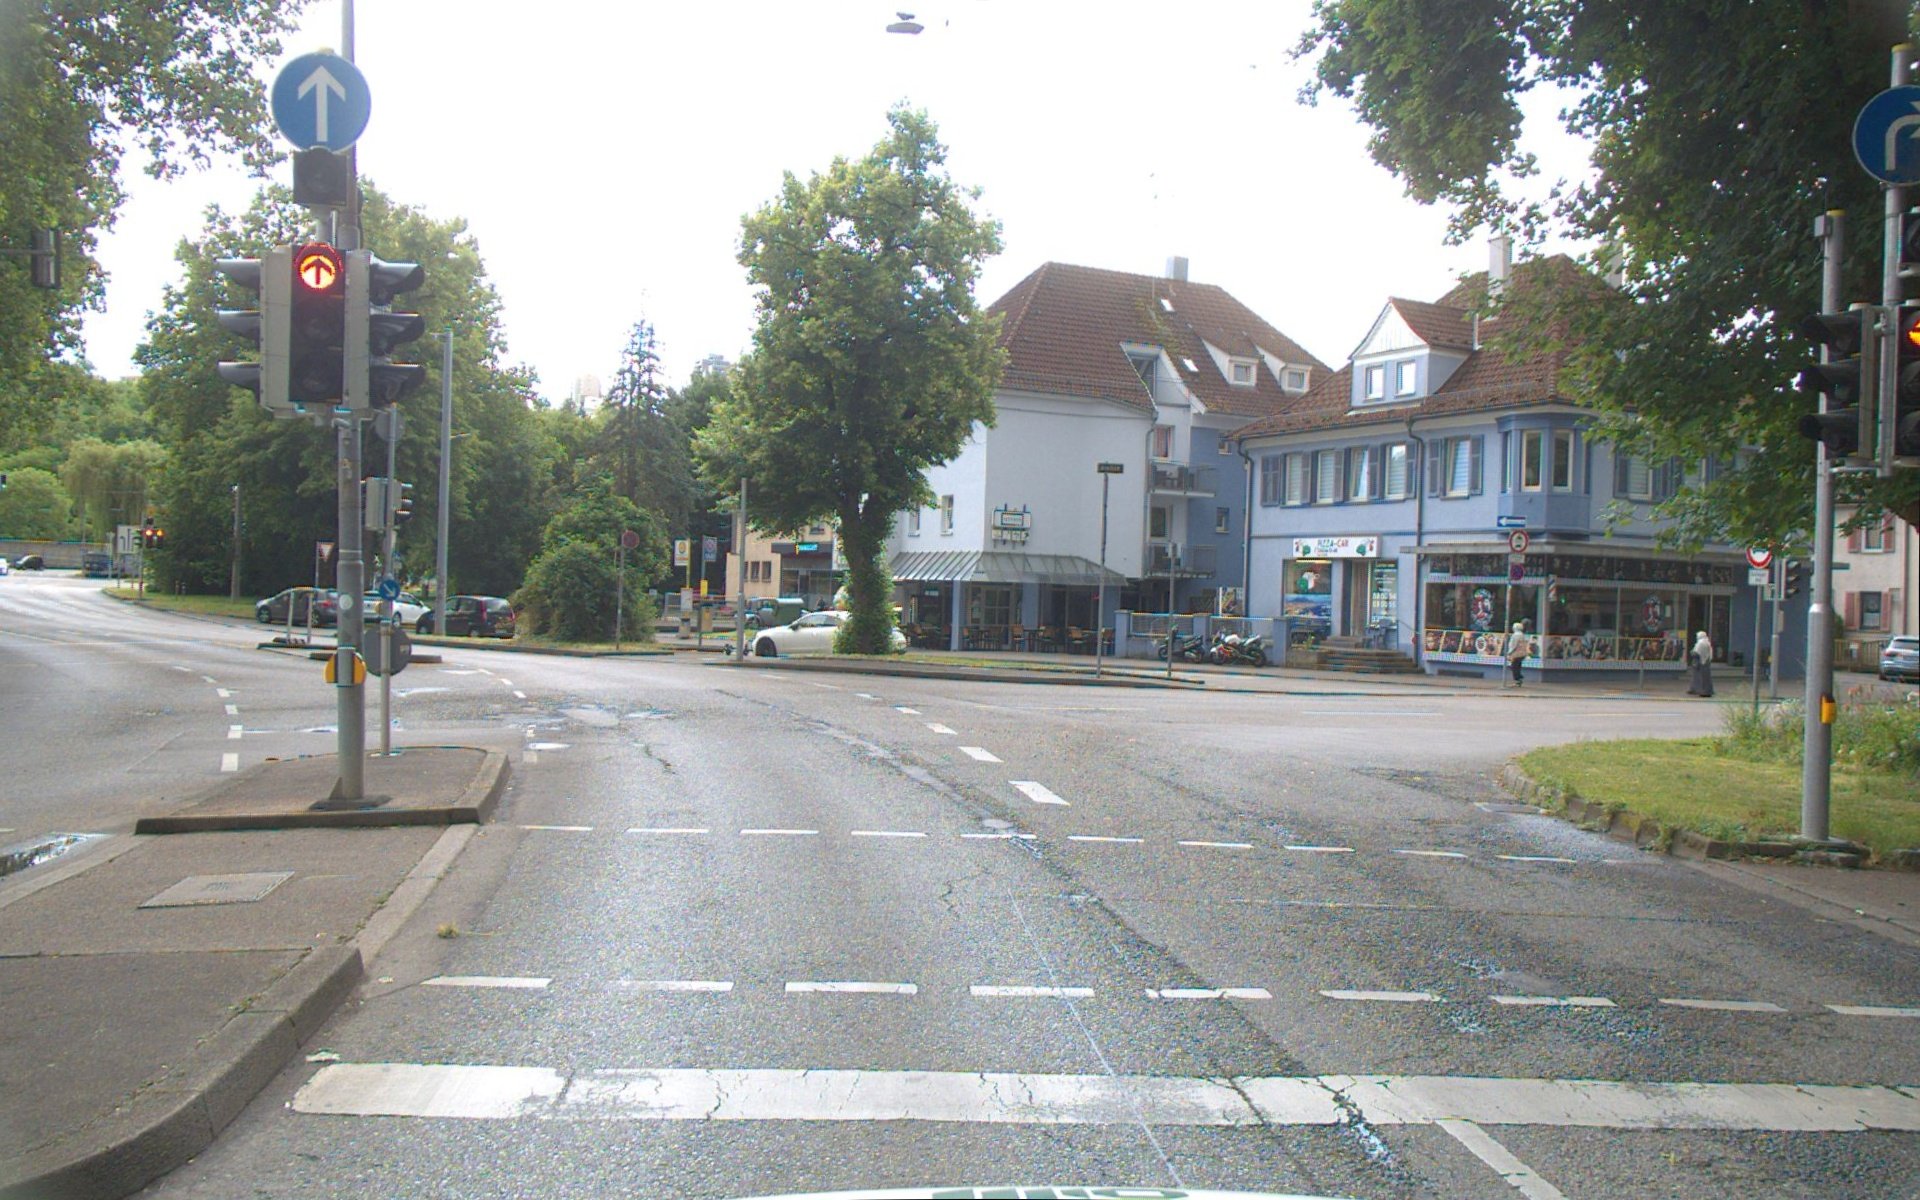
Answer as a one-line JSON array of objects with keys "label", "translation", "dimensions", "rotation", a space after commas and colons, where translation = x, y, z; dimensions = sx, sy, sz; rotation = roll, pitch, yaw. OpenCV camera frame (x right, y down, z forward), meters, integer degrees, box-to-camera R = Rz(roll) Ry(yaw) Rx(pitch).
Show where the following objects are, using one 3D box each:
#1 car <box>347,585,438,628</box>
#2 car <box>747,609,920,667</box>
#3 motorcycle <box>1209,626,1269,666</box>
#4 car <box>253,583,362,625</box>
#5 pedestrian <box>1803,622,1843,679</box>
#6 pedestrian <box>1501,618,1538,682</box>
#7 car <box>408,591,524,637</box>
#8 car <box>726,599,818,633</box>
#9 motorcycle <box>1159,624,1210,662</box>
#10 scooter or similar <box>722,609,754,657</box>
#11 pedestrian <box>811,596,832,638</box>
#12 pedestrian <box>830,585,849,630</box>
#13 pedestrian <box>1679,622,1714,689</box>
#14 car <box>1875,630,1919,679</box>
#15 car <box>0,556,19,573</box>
[{"label": "car", "translation": [-22.730, 0.261, 66.403], "dimensions": [1.821, 1.668, 3.757], "rotation": [1, 0, 10]}, {"label": "car", "translation": [-3.529, 1.022, 45.682], "dimensions": [4.618, 1.435, 1.896], "rotation": [1, 0, 35]}, {"label": "motorcycle", "translation": [8.170, 1.341, 48.459], "dimensions": [1.595, 1.107, 0.625], "rotation": [1, 0, 32]}, {"label": "car", "translation": [-25.005, 0.155, 63.420], "dimensions": [3.695, 1.491, 1.622], "rotation": [1, 0, 18]}, {"label": "pedestrian", "translation": [24.123, 1.410, 46.259], "dimensions": [0.659, 1.587, 0.743], "rotation": [1, -1, -15]}, {"label": "pedestrian", "translation": [14.053, 1.247, 41.535], "dimensions": [0.717, 1.587, 0.767], "rotation": [0, -1, 30]}, {"label": "car", "translation": [-15.911, 0.449, 53.262], "dimensions": [3.252, 1.376, 1.778], "rotation": [1, 0, 27]}, {"label": "car", "translation": [-8.578, 0.737, 75.479], "dimensions": [3.880, 1.467, 1.742], "rotation": [1, 0, -21]}, {"label": "motorcycle", "translation": [6.817, 1.289, 50.209], "dimensions": [1.430, 1.107, 0.522], "rotation": [1, 0, 35]}, {"label": "scooter or similar", "translation": [-5.698, 0.830, 42.508], "dimensions": [0.433, 1.195, 1.439], "rotation": [1, 0, 8]}, {"label": "pedestrian", "translation": [-6.773, 0.829, 80.750], "dimensions": [0.823, 2.049, 1.052], "rotation": [1, 0, -15]}, {"label": "pedestrian", "translation": [-4.300, 0.273, 59.121], "dimensions": [0.531, 1.587, 0.468], "rotation": [0, -1, 13]}, {"label": "pedestrian", "translation": [17.710, 1.318, 39.758], "dimensions": [0.681, 1.587, 0.665], "rotation": [0, -1, 30]}, {"label": "car", "translation": [29.701, 1.690, 51.689], "dimensions": [1.849, 1.415, 3.608], "rotation": [1, 0, 28]}, {"label": "car", "translation": [-88.819, -3.303, 153.687], "dimensions": [2.971, 1.442, 1.492], "rotation": [0, -2, 41]}]
